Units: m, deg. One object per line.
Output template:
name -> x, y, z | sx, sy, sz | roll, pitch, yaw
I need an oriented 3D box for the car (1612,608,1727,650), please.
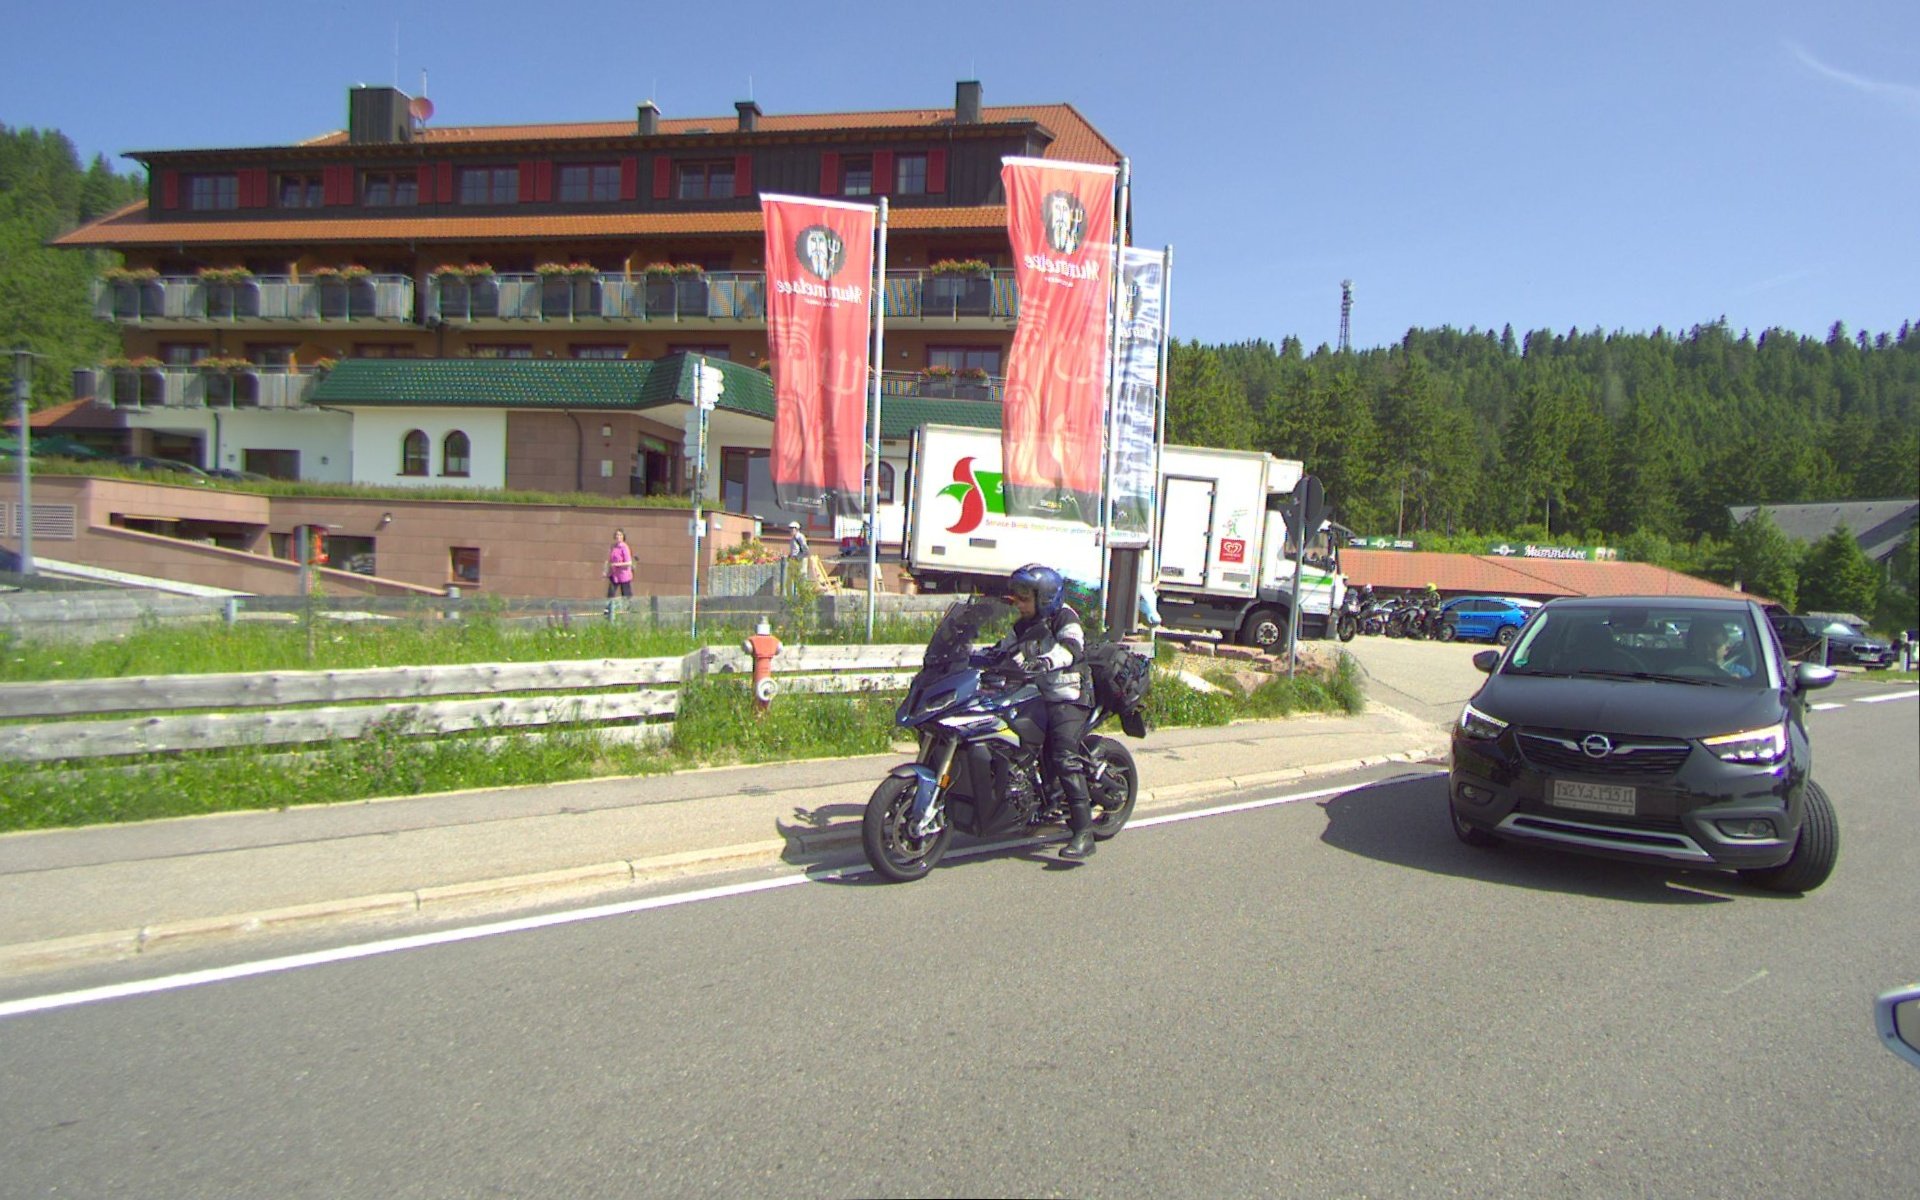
car -> 33.083, 1.331, 46.947 | 3.919, 1.727, 1.827 | 2, 1, 14

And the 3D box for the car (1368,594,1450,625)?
car -> 25.518, 0.520, 57.234 | 3.803, 1.550, 1.911 | 2, 1, 7

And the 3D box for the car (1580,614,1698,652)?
car -> 30.445, 1.457, 45.137 | 3.996, 1.506, 1.717 | 2, 1, 9

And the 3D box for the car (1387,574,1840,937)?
car -> 4.551, 0.734, 6.760 | 1.957, 1.638, 4.129 | 0, -1, 40

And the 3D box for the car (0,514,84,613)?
car -> -16.031, -0.739, 15.457 | 3.921, 1.371, 1.881 | 8, 2, 14

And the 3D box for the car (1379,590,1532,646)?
car -> 17.655, 0.601, 35.972 | 4.453, 1.686, 1.941 | 3, 1, 9

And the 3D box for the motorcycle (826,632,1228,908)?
motorcycle -> 0.454, 0.844, 5.796 | 2.304, 1.282, 0.805 | 1, 1, -36

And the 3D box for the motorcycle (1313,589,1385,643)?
motorcycle -> 9.547, 0.373, 24.772 | 0.808, 1.193, 2.285 | 3, 1, -1

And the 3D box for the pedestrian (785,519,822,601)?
pedestrian -> -3.335, -0.852, 21.450 | 0.640, 1.712, 0.575 | 2, 1, 0

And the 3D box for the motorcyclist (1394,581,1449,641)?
motorcyclist -> 14.492, 0.349, 31.574 | 1.223, 1.742, 1.065 | 6, 1, 13

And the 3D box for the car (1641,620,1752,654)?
car -> 35.716, 1.770, 48.823 | 3.920, 1.389, 1.813 | 2, 1, 17

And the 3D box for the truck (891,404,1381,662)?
truck -> 3.214, -1.321, 19.899 | 8.598, 4.025, 3.070 | 5, 4, 2

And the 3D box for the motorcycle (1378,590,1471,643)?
motorcycle -> 14.570, 0.511, 31.590 | 2.396, 1.425, 1.006 | 6, 1, 13

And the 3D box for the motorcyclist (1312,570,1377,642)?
motorcyclist -> 9.515, 0.127, 24.889 | 1.009, 1.697, 1.293 | 3, 1, -1

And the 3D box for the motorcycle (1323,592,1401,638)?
motorcycle -> 13.711, 0.501, 34.323 | 2.232, 1.273, 0.879 | 7, 4, 11

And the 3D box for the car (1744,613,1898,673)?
car -> 26.424, 1.270, 31.027 | 1.771, 1.561, 4.194 | 2, 1, 12

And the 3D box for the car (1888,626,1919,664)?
car -> 42.168, 1.994, 43.063 | 1.747, 1.573, 4.001 | 3, 1, 15

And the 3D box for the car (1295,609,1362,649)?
car -> 13.863, 1.051, 37.971 | 1.679, 1.314, 4.002 | 2, 1, 11

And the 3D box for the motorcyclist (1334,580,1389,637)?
motorcyclist -> 13.714, 0.279, 34.347 | 1.423, 1.740, 0.926 | 7, 4, 11

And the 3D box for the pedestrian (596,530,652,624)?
pedestrian -> -6.433, -0.440, 19.272 | 0.782, 1.739, 0.699 | 2, 1, 0

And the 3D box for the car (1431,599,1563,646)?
car -> 20.158, 0.808, 37.904 | 3.919, 1.566, 2.001 | 2, 1, 11

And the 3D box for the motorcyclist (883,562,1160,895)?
motorcyclist -> 0.350, 0.645, 5.739 | 1.287, 1.663, 0.873 | 1, 1, -35
